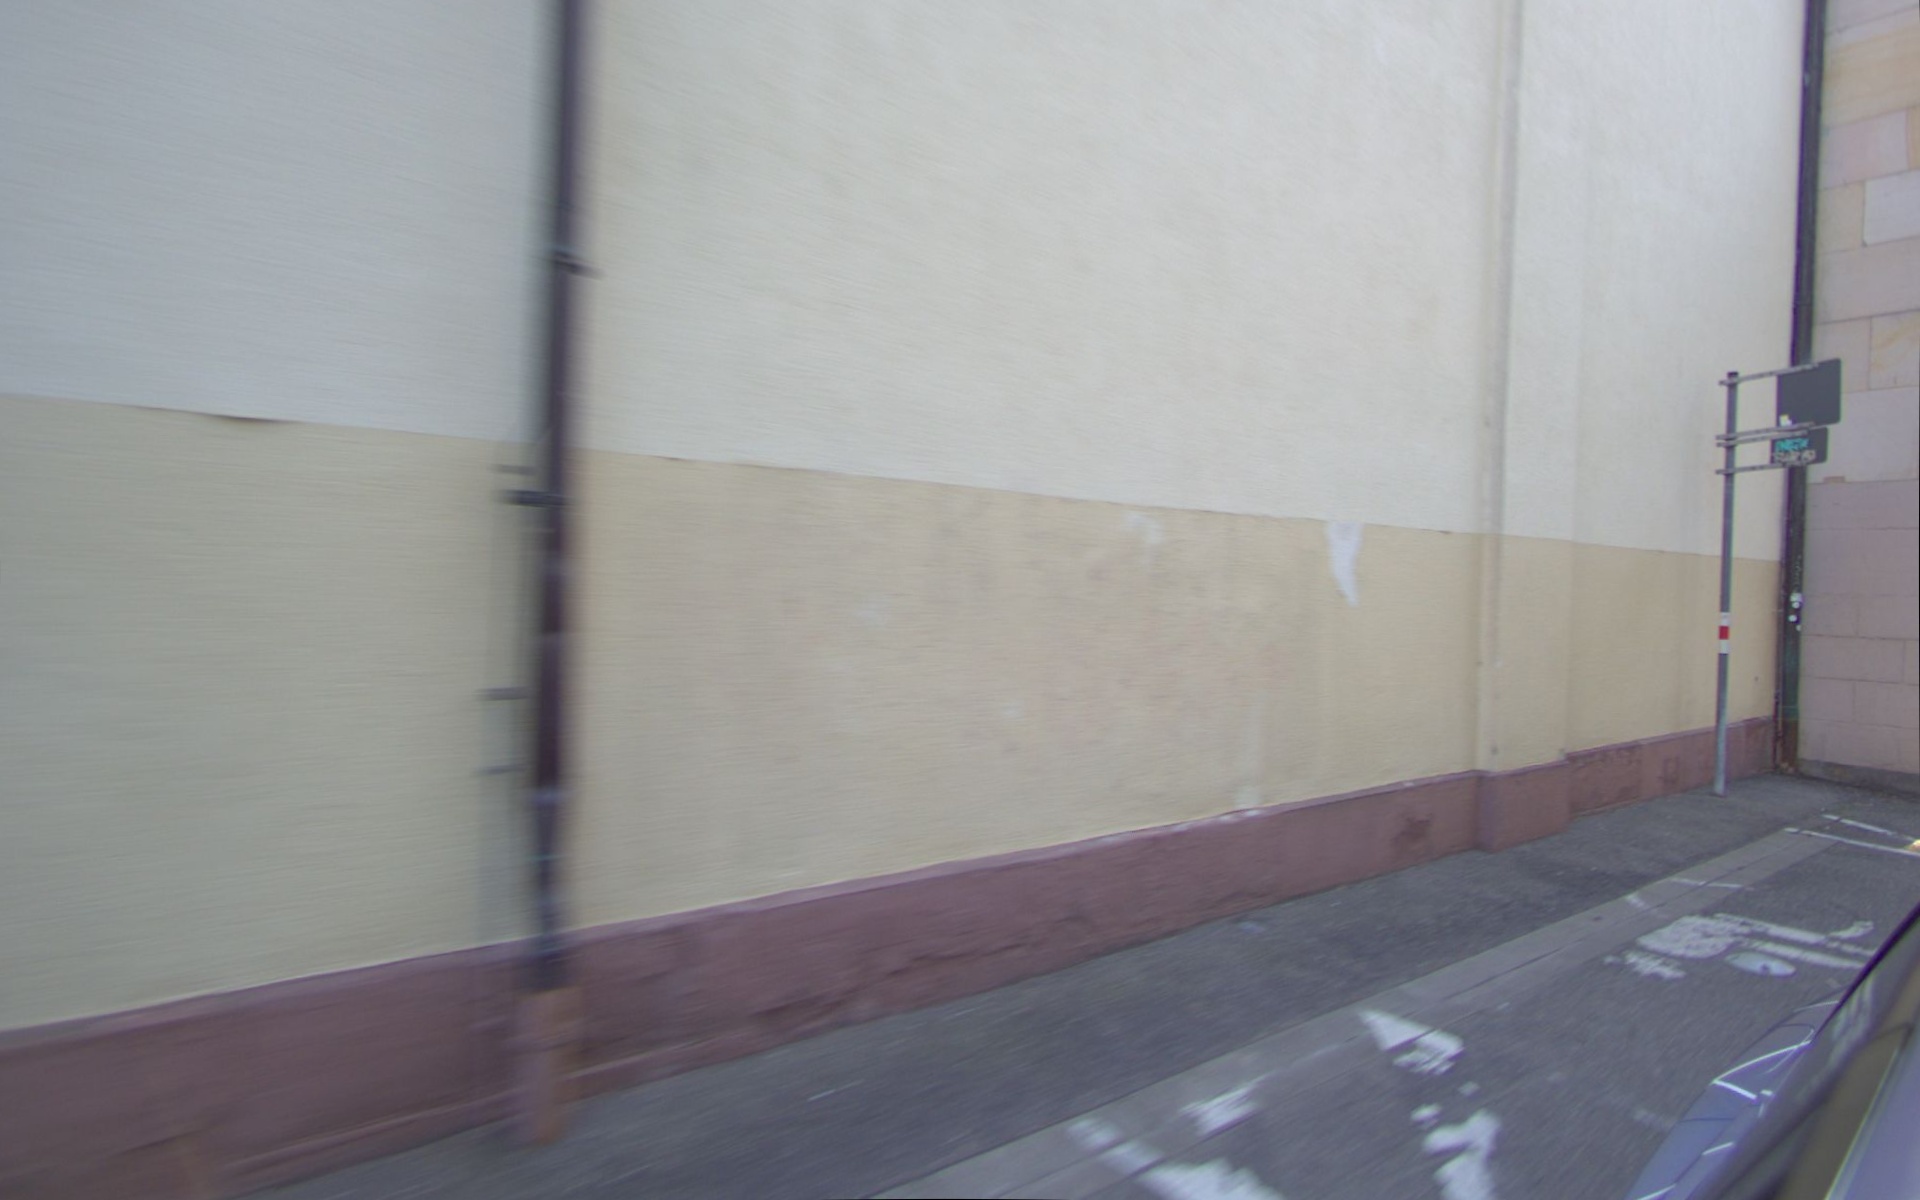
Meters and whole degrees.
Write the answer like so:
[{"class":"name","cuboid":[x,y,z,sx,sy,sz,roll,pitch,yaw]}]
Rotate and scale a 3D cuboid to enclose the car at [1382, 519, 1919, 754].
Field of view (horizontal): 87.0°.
[{"class":"car","cuboid":[9.441,0.179,14.006,1.966,2.542,6.469,-2,5,-38]}]
